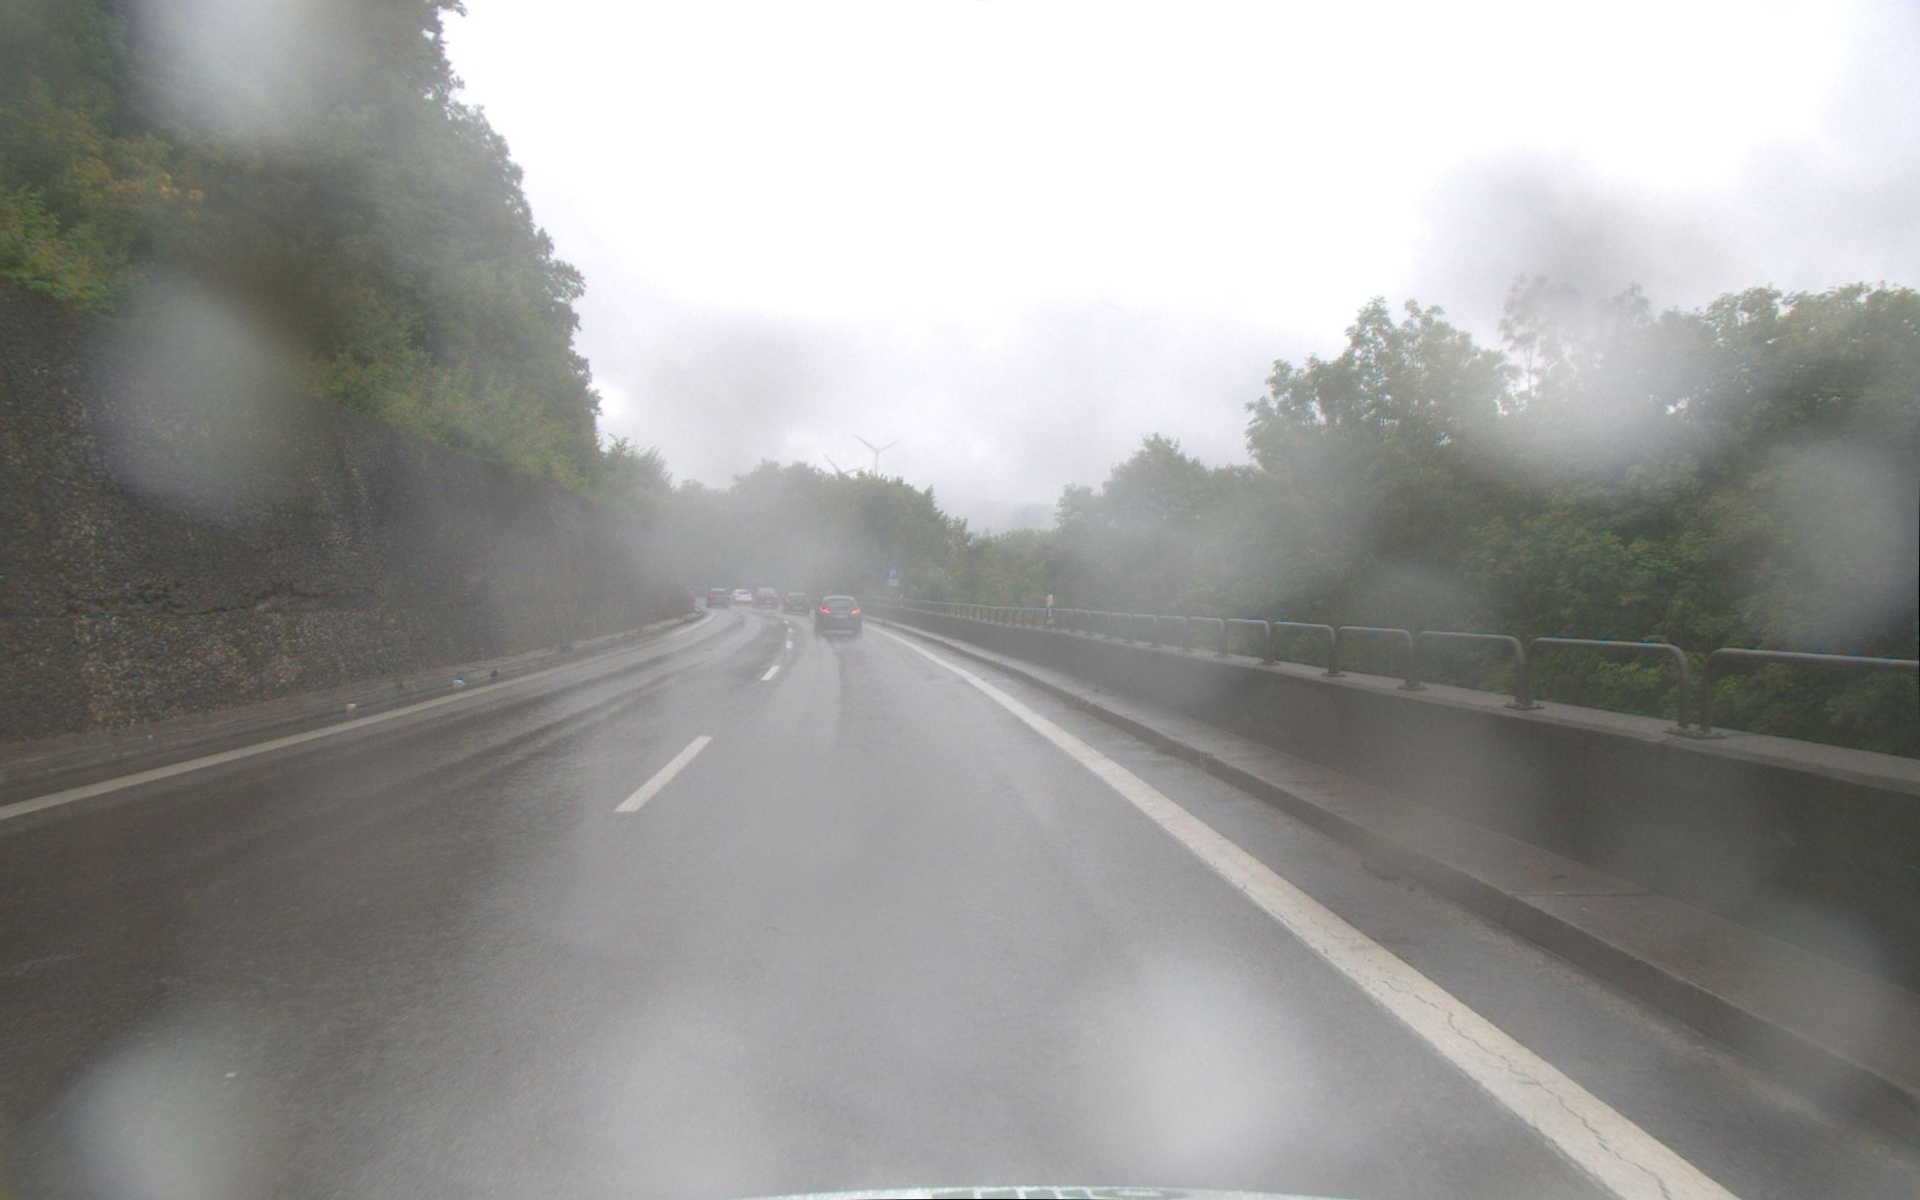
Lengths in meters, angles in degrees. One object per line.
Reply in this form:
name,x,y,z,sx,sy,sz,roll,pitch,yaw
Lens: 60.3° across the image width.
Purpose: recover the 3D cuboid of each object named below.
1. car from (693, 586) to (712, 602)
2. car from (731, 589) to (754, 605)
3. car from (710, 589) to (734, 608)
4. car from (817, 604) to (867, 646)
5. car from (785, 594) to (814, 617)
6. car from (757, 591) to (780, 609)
car,-26.431,-0.597,169.926,1.868,1.525,3.992,1,0,-8
car,-20.952,-0.270,159.229,1.870,1.525,3.989,1,0,-11
car,-20.227,-0.106,140.434,1.867,1.525,3.994,1,0,-6
car,-4.619,0.950,64.294,1.867,1.525,3.996,1,0,-5
car,-11.205,0.398,115.097,1.868,1.525,3.993,1,0,-8
car,-16.425,-0.011,141.909,1.867,1.525,3.994,1,0,-6
